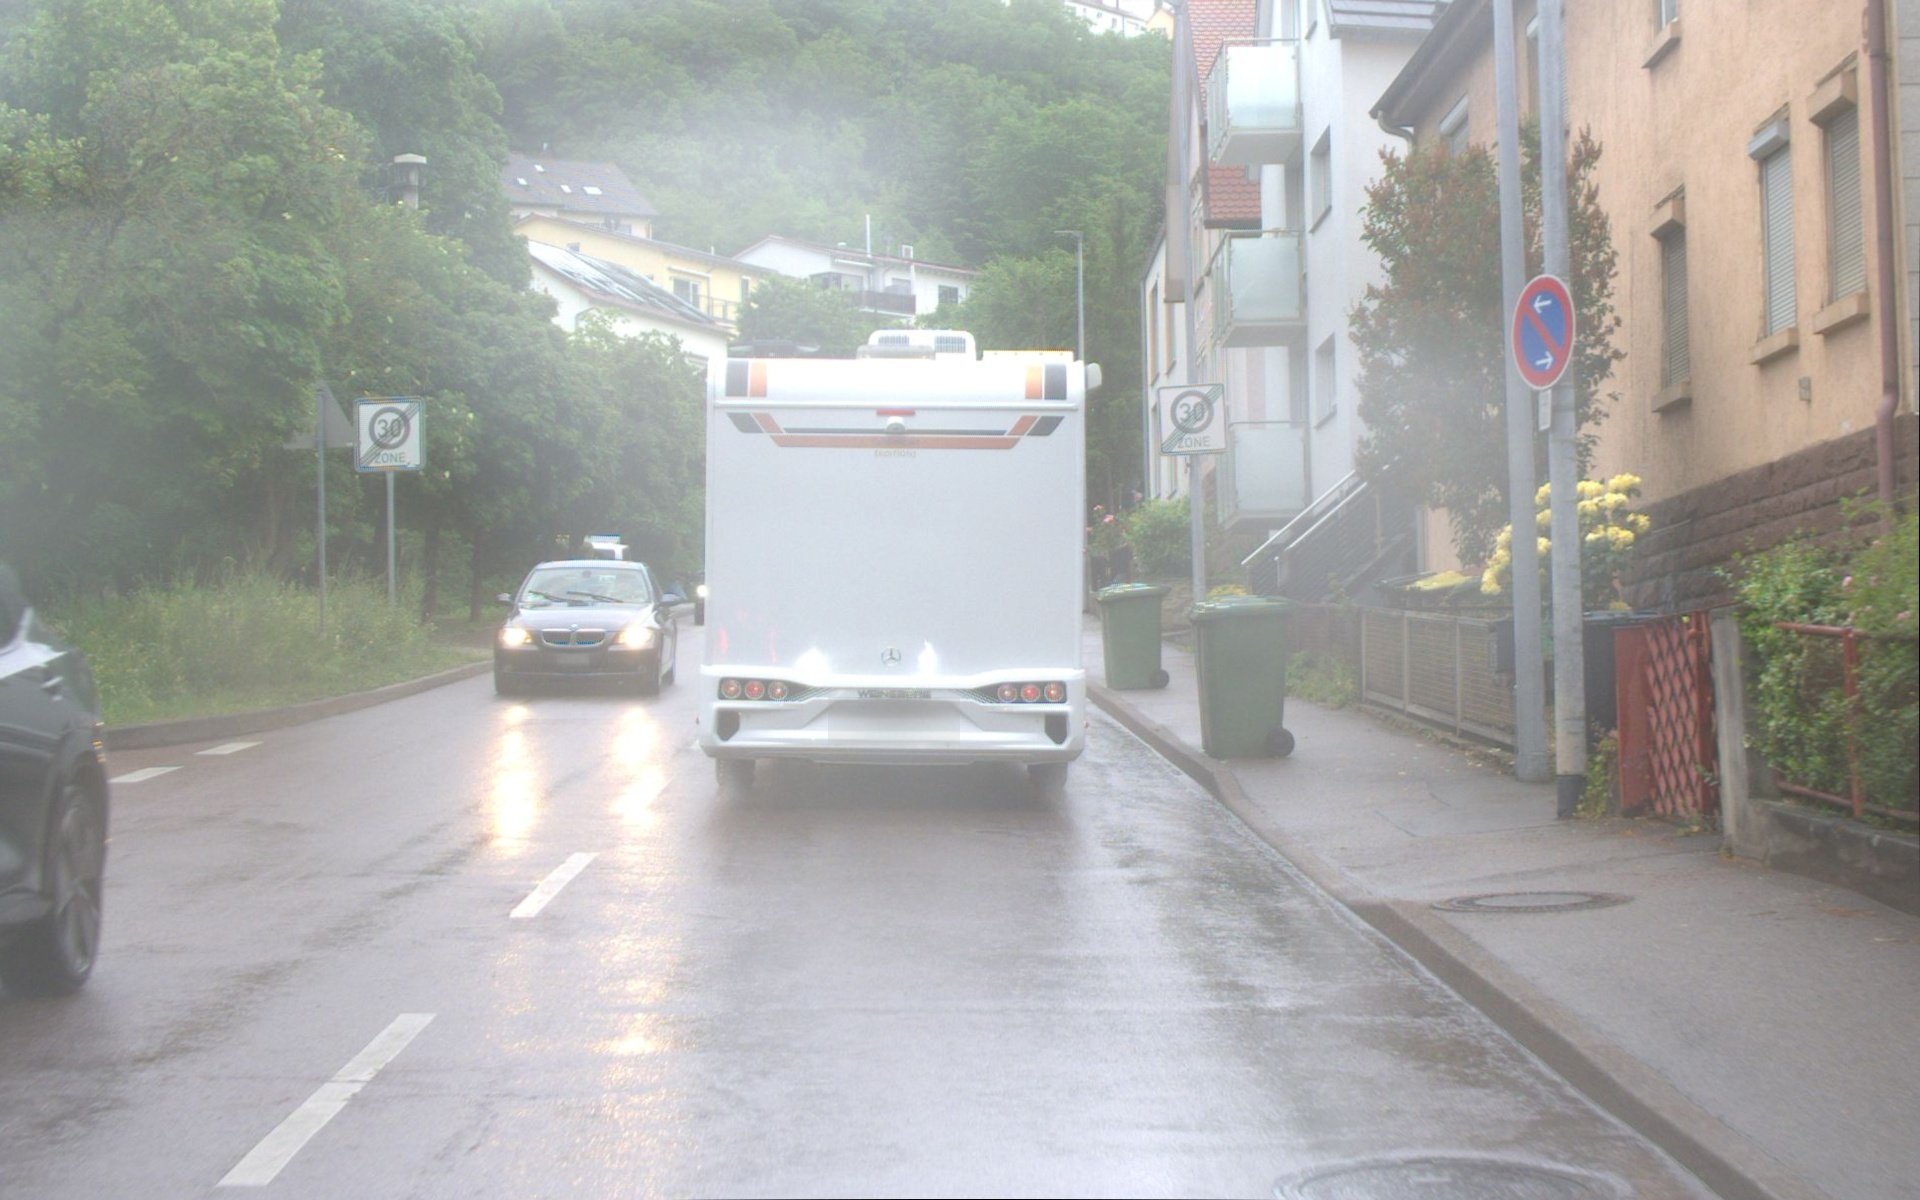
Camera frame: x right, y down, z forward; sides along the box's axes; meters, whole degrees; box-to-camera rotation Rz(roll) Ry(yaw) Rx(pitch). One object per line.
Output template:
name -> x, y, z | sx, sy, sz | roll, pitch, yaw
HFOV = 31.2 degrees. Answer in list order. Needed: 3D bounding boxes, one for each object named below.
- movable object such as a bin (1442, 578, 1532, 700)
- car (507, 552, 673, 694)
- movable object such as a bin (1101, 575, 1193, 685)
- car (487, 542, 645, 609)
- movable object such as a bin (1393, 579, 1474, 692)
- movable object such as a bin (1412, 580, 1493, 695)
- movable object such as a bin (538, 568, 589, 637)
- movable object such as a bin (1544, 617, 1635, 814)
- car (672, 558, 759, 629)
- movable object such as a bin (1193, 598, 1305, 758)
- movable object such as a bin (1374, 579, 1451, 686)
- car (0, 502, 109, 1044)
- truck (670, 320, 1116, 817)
movable object such as a bin -> 4.957, 0.361, 32.358 | 0.660, 1.089, 0.656 | -3, 1, -2
car -> -3.969, 0.216, 37.312 | 1.560, 1.449, 4.085 | 0, 1, -3
movable object such as a bin -> 1.906, 0.304, 35.123 | 0.914, 1.099, 0.702 | 0, 1, 2
car -> -10.907, -0.683, 95.353 | 4.106, 1.794, 2.000 | 0, 1, 2
movable object such as a bin -> 4.812, 0.358, 34.967 | 0.660, 1.089, 0.545 | -4, 1, -2
movable object such as a bin -> 4.911, 0.367, 34.313 | 0.644, 1.089, 0.545 | -4, 1, -2
movable object such as a bin -> -6.444, 0.038, 55.897 | 0.720, 1.096, 0.757 | 1, 1, 0
movable object such as a bin -> 3.322, 0.603, 18.159 | 0.379, 1.015, 0.487 | 0, 1, 0
car -> -5.034, -0.146, 71.085 | 1.719, 1.425, 3.845 | 0, 1, -3
movable object such as a bin -> 1.954, 0.520, 23.317 | 0.720, 1.048, 0.800 | 0, 1, 2
movable object such as a bin -> 4.837, 0.348, 36.786 | 0.660, 1.089, 0.545 | -4, 1, -2
car -> -3.834, 0.540, 9.968 | 1.750, 1.683, 4.376 | 0, 1, -2
truck -> -0.408, -0.217, 22.646 | 2.515, 2.808, 6.202 | 0, 1, 0
